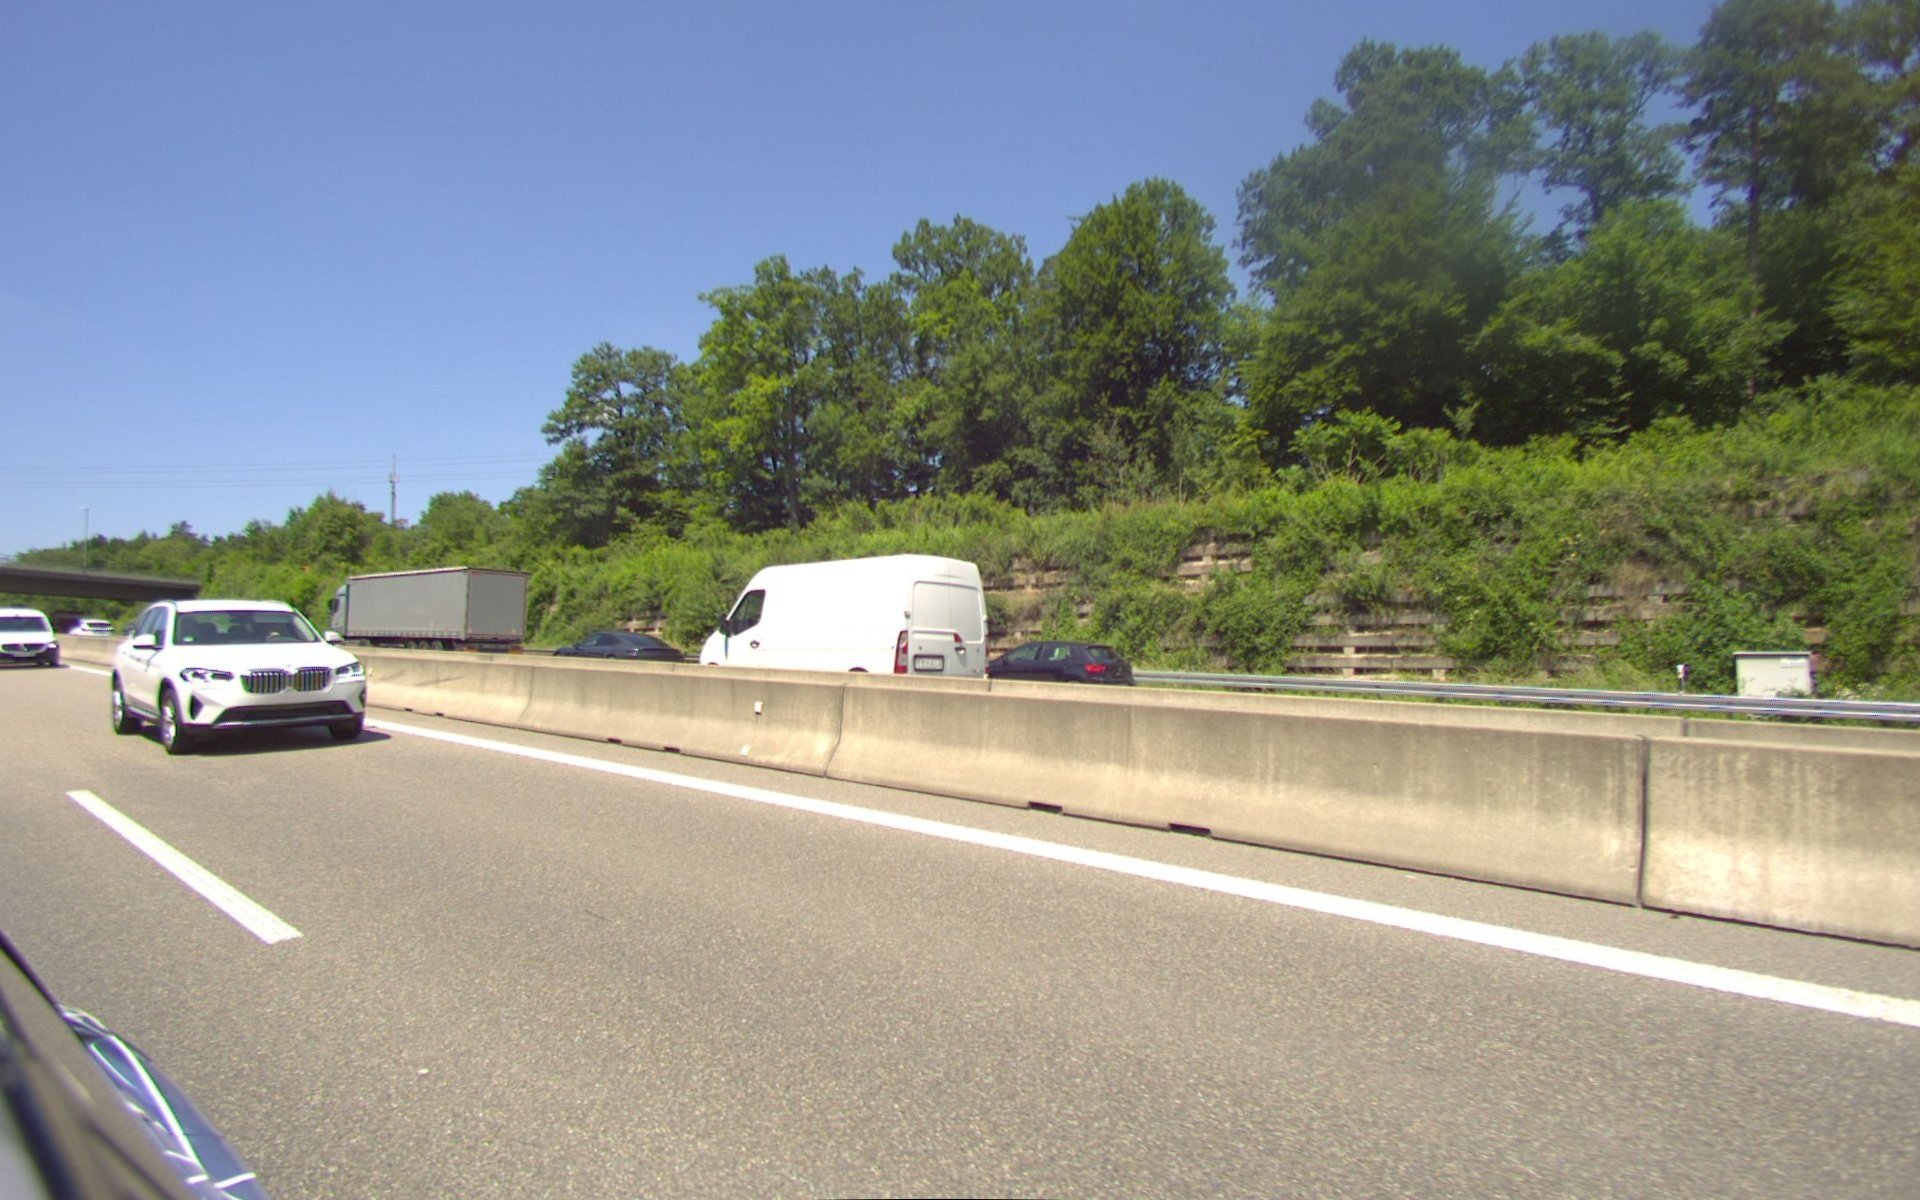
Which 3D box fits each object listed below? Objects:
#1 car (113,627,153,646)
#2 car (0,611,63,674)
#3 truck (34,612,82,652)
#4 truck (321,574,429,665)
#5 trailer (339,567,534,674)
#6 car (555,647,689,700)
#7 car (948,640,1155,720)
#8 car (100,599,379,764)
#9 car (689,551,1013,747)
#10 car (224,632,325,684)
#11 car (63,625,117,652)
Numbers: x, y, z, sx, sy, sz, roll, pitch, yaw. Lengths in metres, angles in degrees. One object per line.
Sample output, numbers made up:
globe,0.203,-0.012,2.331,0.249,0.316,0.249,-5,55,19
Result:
car,-71.153,3.129,87.037,4.279,1.638,1.919,-1,-3,41
car,-29.080,1.260,30.986,4.501,1.788,1.972,-1,0,43
truck,-106.166,3.680,119.056,13.081,4.424,2.593,-1,0,41
truck,-29.101,0.938,50.257,5.946,4.217,2.904,-1,-1,41
trailer,-24.054,0.869,45.805,14.178,4.217,2.904,-1,-1,41
car,-9.317,1.973,27.755,4.103,1.297,1.624,-1,-3,41
car,1.949,1.691,22.307,4.279,1.550,1.876,-1,-3,41
car,-8.882,0.860,12.332,4.366,1.656,1.826,-1,-1,41
car,-1.921,0.770,16.591,5.339,2.704,2.216,-1,-3,41
car,-24.428,2.036,36.024,4.279,1.713,1.919,-1,-3,41
car,-54.091,2.393,62.906,4.279,1.638,1.919,-1,-3,41
